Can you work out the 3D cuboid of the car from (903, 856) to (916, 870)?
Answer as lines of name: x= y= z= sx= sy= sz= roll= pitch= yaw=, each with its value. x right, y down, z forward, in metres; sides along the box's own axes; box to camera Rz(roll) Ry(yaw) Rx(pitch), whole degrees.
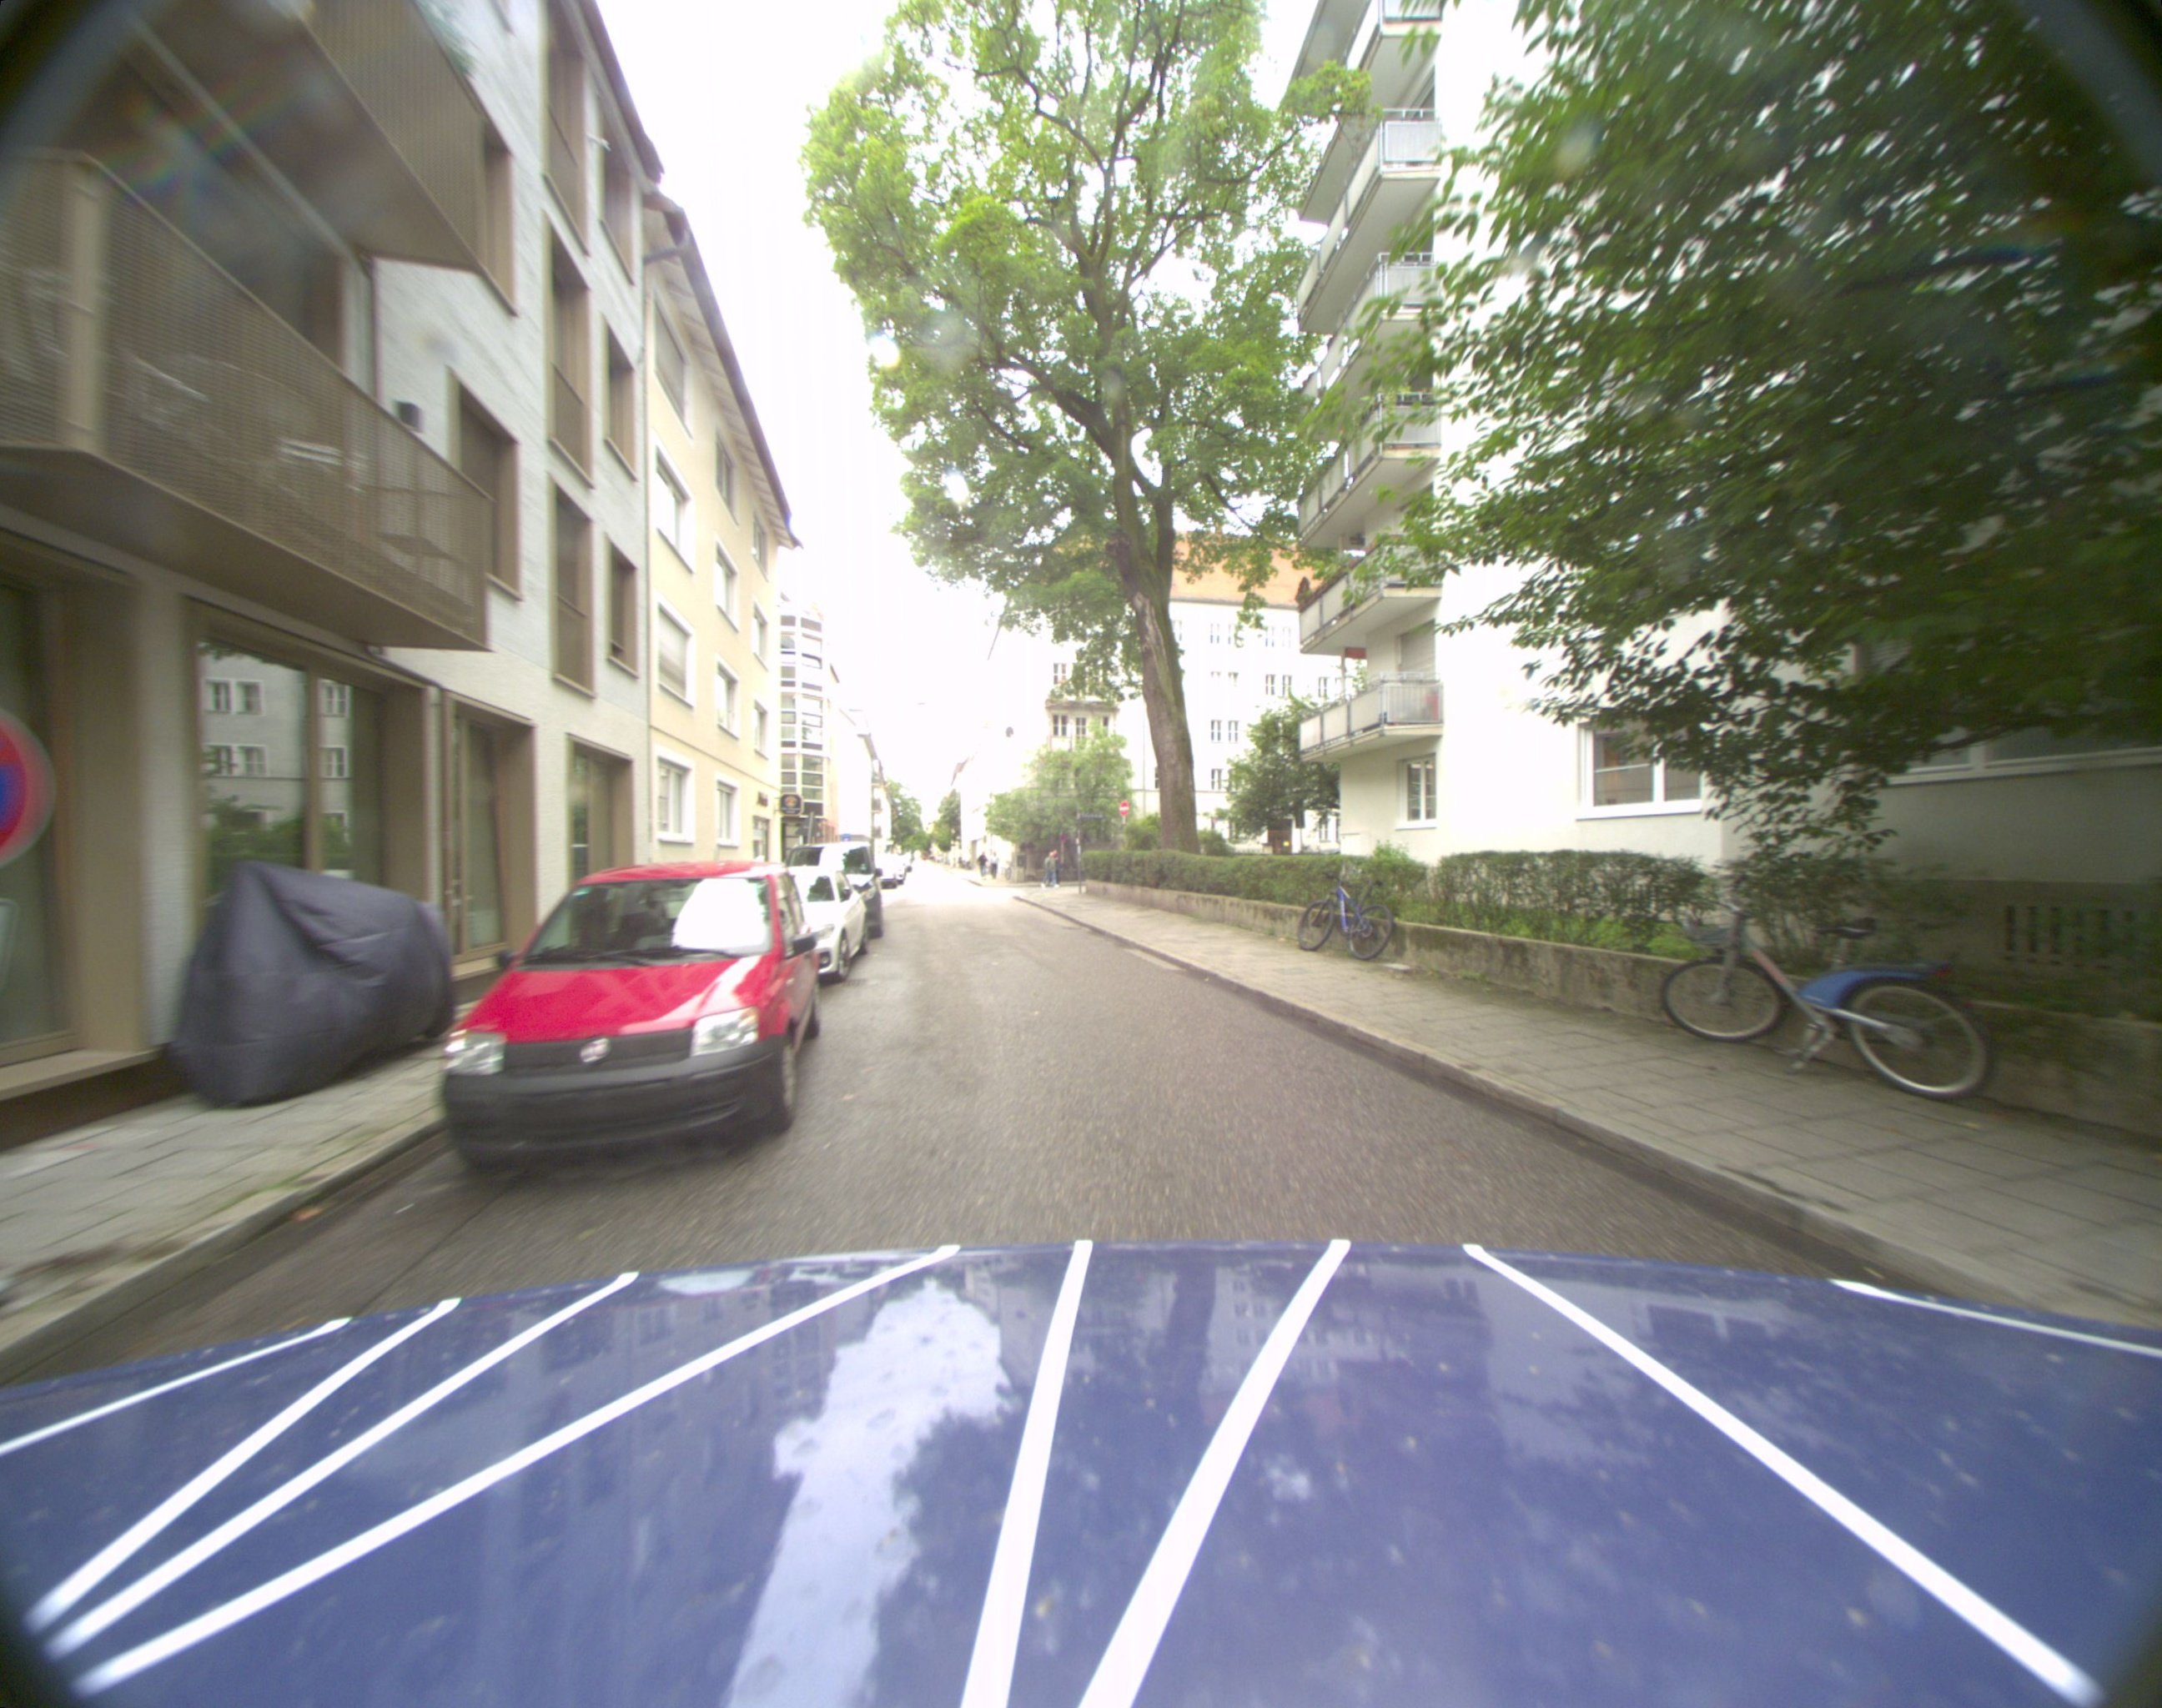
car: x=-17.093 y=0.877 z=75.651 sx=1.191 sy=1.312 sz=2.776 roll=-2 pitch=1 yaw=-12

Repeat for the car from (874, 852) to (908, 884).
car: x=-10.584 y=0.746 z=42.368 sx=1.727 sy=1.606 sz=4.449 roll=-2 pitch=1 yaw=-14

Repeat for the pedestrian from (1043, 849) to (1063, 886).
pedestrian: x=-1.302 y=0.639 z=35.464 sx=0.692 sy=1.668 sz=0.858 roll=-3 pitch=1 yaw=-14

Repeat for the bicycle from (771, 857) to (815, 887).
bicycle: x=-13.281 y=0.831 z=35.094 sx=1.809 sy=1.315 sz=0.586 roll=-1 pitch=2 yaw=-37

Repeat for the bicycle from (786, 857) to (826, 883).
bicycle: x=-13.703 y=0.777 z=37.886 sx=1.873 sy=1.222 sz=0.594 roll=1 pitch=1 yaw=17

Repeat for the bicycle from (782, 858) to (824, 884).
bicycle: x=-13.117 y=0.807 z=35.857 sx=1.754 sy=1.180 sz=0.442 roll=2 pitch=0 yaw=-6

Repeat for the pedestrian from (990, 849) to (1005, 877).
pedestrian: x=-5.211 y=0.550 z=47.451 sx=0.695 sy=1.718 sz=0.840 roll=-5 pitch=2 yaw=-12

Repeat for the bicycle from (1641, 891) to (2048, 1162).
bicycle: x=4.289 y=0.864 z=4.472 sx=0.490 sy=1.145 sz=1.697 roll=-4 pitch=2 yaw=-11

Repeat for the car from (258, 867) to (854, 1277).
car: x=-2.767 y=0.922 z=5.236 sx=1.778 sy=1.515 sz=4.062 roll=-2 pitch=1 yaw=-10

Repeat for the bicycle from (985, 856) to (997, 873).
bicycle: x=-6.754 y=0.778 z=56.992 sx=0.450 sy=1.187 sz=1.497 roll=-2 pitch=1 yaw=-21

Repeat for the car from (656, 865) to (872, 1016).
car: x=-3.979 y=0.947 z=10.331 sx=1.774 sy=1.453 sz=4.375 roll=-2 pitch=1 yaw=-11

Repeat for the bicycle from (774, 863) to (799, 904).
bicycle: x=-9.410 y=0.922 z=24.311 sx=0.411 sy=1.207 sz=1.816 roll=2 pitch=1 yaw=-12

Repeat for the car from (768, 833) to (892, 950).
car: x=-5.052 y=0.650 z=15.884 sx=1.998 sy=1.965 sz=4.878 roll=-3 pitch=1 yaw=-14

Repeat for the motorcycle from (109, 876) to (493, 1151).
motorcycle: x=-4.964 y=0.894 z=5.084 sx=0.808 sy=1.415 sz=1.930 roll=2 pitch=0 yaw=-11

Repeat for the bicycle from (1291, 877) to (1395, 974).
bicycle: x=3.343 y=0.866 z=9.844 sx=0.348 sy=1.066 sz=1.778 roll=-4 pitch=1 yaw=-12

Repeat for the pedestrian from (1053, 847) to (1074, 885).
pedestrian: x=-0.831 y=0.584 z=36.379 sx=0.692 sy=1.753 sz=0.740 roll=-3 pitch=1 yaw=-22

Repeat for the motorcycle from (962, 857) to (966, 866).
motorcycle: x=-13.768 y=0.862 z=89.230 sx=0.324 sy=0.968 sz=1.959 roll=-2 pitch=1 yaw=-12

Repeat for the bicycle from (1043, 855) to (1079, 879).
bicycle: x=-1.023 y=0.672 z=39.650 sx=1.813 sy=1.253 sz=0.431 roll=-1 pitch=1 yaw=-13

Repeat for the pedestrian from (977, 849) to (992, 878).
pedestrian: x=-5.982 y=0.567 z=47.298 sx=0.722 sy=1.718 sz=0.840 roll=-5 pitch=2 yaw=-12

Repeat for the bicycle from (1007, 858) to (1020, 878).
bicycle: x=-3.809 y=0.799 z=43.055 sx=0.432 sy=1.089 sz=1.701 roll=-2 pitch=1 yaw=-14

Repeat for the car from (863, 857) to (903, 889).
car: x=-9.567 y=0.871 z=36.898 sx=1.727 sy=1.427 sz=4.353 roll=-2 pitch=1 yaw=-14
